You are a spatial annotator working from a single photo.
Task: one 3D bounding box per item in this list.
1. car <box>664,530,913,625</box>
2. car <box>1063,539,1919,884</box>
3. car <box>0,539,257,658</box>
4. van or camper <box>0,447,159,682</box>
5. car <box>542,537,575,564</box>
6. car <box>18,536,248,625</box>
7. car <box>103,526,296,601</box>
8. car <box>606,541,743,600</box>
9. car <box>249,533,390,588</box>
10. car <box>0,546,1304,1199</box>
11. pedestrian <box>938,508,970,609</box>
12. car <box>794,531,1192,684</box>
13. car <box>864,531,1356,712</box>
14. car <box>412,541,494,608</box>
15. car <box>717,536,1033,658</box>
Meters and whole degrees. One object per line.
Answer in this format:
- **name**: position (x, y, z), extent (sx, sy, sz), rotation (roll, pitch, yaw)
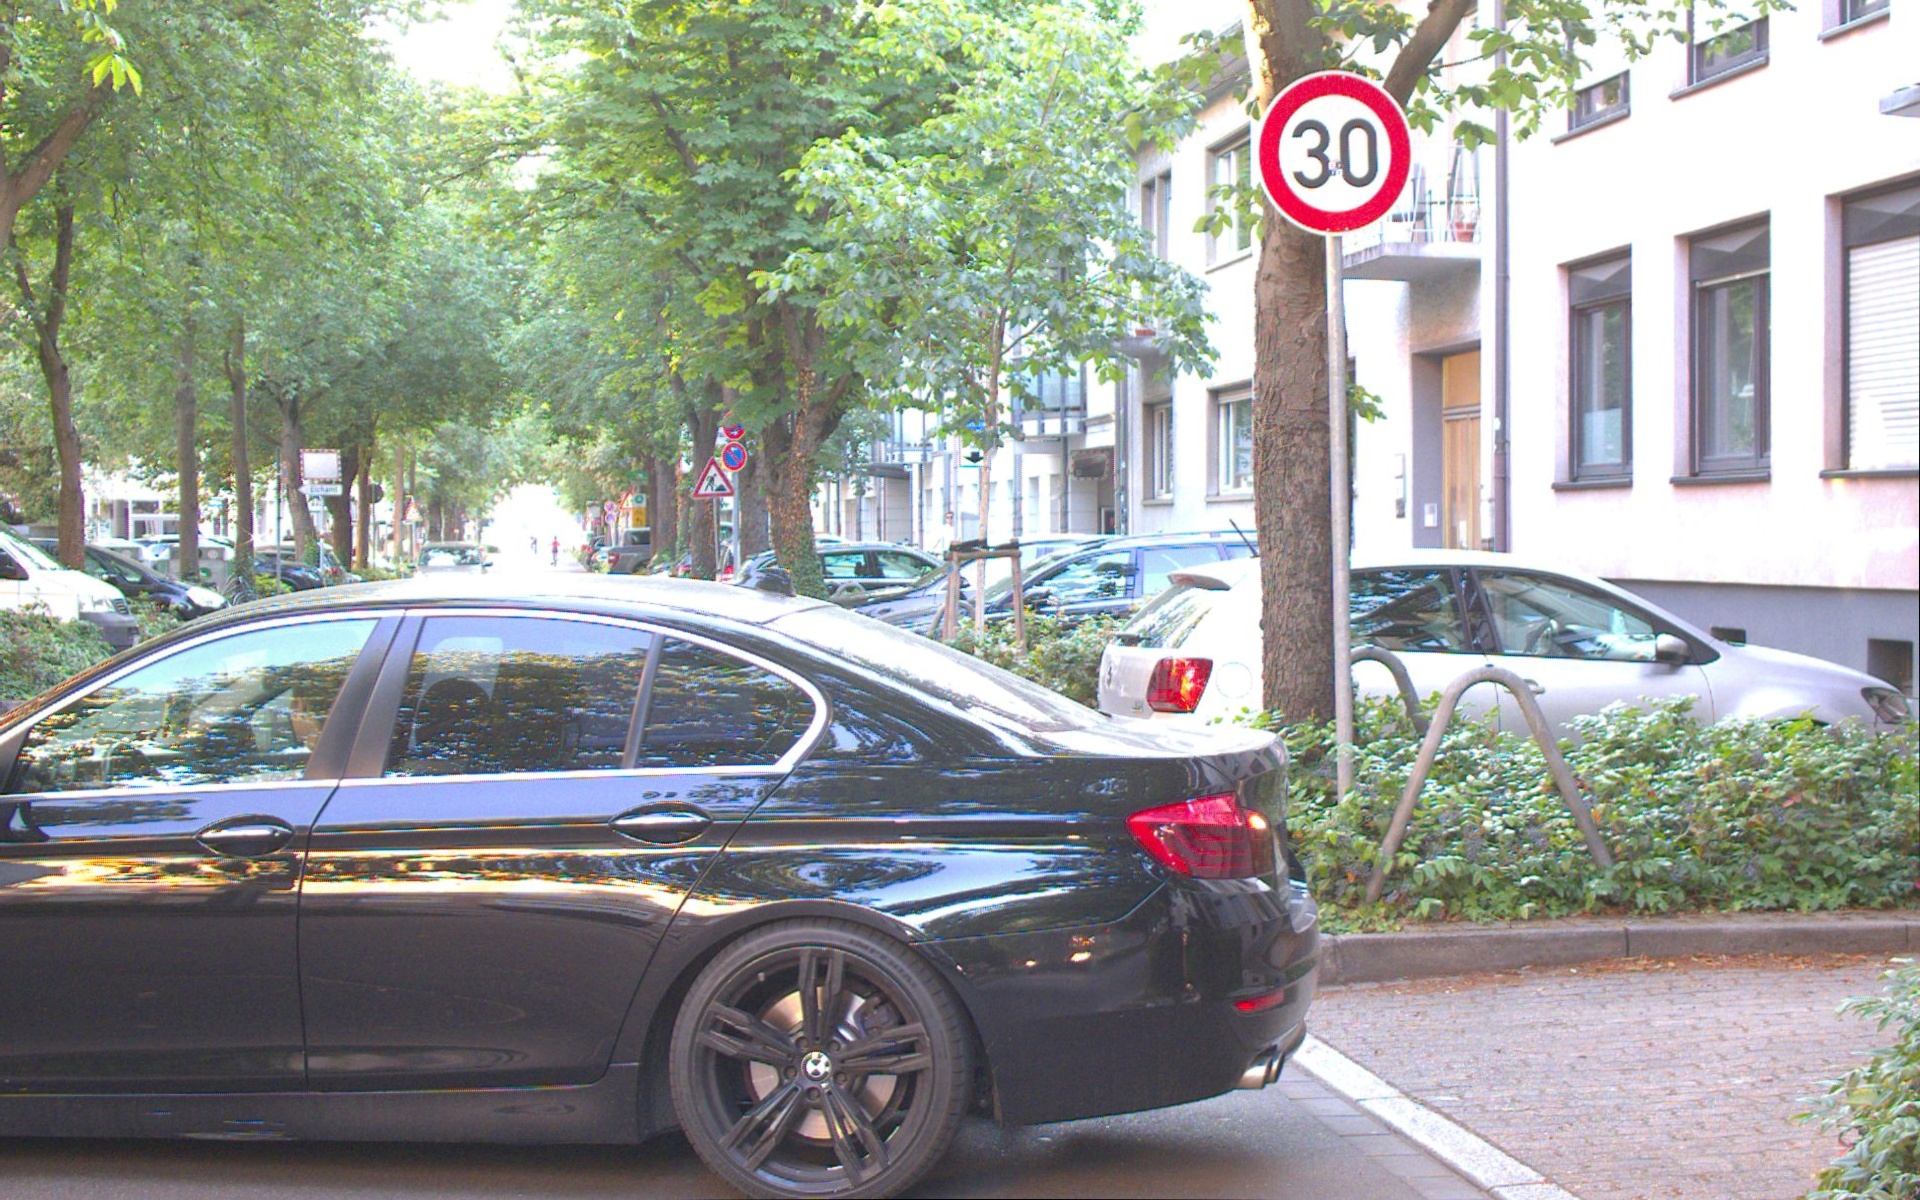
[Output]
- **car**: position (-2.858, -0.386, 56.825), extent (3.967, 1.522, 1.785), rotation (-1, 1, -8)
- **car**: position (2.558, 0.467, 16.077), extent (3.908, 1.471, 1.665), rotation (-1, 1, -8)
- **car**: position (-11.935, -0.037, 48.043), extent (3.967, 1.614, 1.785), rotation (-1, 1, -6)
- **van or camper**: position (-11.136, -0.382, 37.045), extent (4.662, 2.470, 2.000), rotation (0, 1, -7)
- **car**: position (-23.167, -2.849, 198.374), extent (1.822, 1.525, 4.001), rotation (-1, 1, -6)
- **car**: position (-15.475, -0.379, 64.508), extent (3.967, 1.614, 1.785), rotation (-1, 1, -5)
- **car**: position (-16.811, -0.817, 76.135), extent (3.967, 1.614, 1.785), rotation (-1, 1, -5)
- **car**: position (-8.368, -0.887, 100.776), extent (3.967, 1.678, 1.785), rotation (-1, 1, -5)
- **car**: position (-19.048, -1.183, 102.398), extent (3.967, 1.614, 1.785), rotation (-1, 1, -5)
- **car**: position (-1.562, 0.616, 8.606), extent (4.746, 1.475, 1.800), rotation (0, 1, 8)
- **pedestrian**: position (-0.126, -0.832, 68.818), extent (0.589, 2.007, 0.669), rotation (0, 1, -5)
- **car**: position (0.312, 0.055, 36.151), extent (3.967, 1.522, 1.785), rotation (-1, 1, -7)
- **car**: position (1.253, 0.153, 29.681), extent (3.967, 1.471, 1.785), rotation (-1, 1, -8)
- **car**: position (-12.267, -0.637, 83.342), extent (1.779, 1.557, 4.169), rotation (0, 1, -6)
- **car**: position (-1.141, -0.056, 44.961), extent (3.967, 1.522, 1.785), rotation (-1, 1, -7)
